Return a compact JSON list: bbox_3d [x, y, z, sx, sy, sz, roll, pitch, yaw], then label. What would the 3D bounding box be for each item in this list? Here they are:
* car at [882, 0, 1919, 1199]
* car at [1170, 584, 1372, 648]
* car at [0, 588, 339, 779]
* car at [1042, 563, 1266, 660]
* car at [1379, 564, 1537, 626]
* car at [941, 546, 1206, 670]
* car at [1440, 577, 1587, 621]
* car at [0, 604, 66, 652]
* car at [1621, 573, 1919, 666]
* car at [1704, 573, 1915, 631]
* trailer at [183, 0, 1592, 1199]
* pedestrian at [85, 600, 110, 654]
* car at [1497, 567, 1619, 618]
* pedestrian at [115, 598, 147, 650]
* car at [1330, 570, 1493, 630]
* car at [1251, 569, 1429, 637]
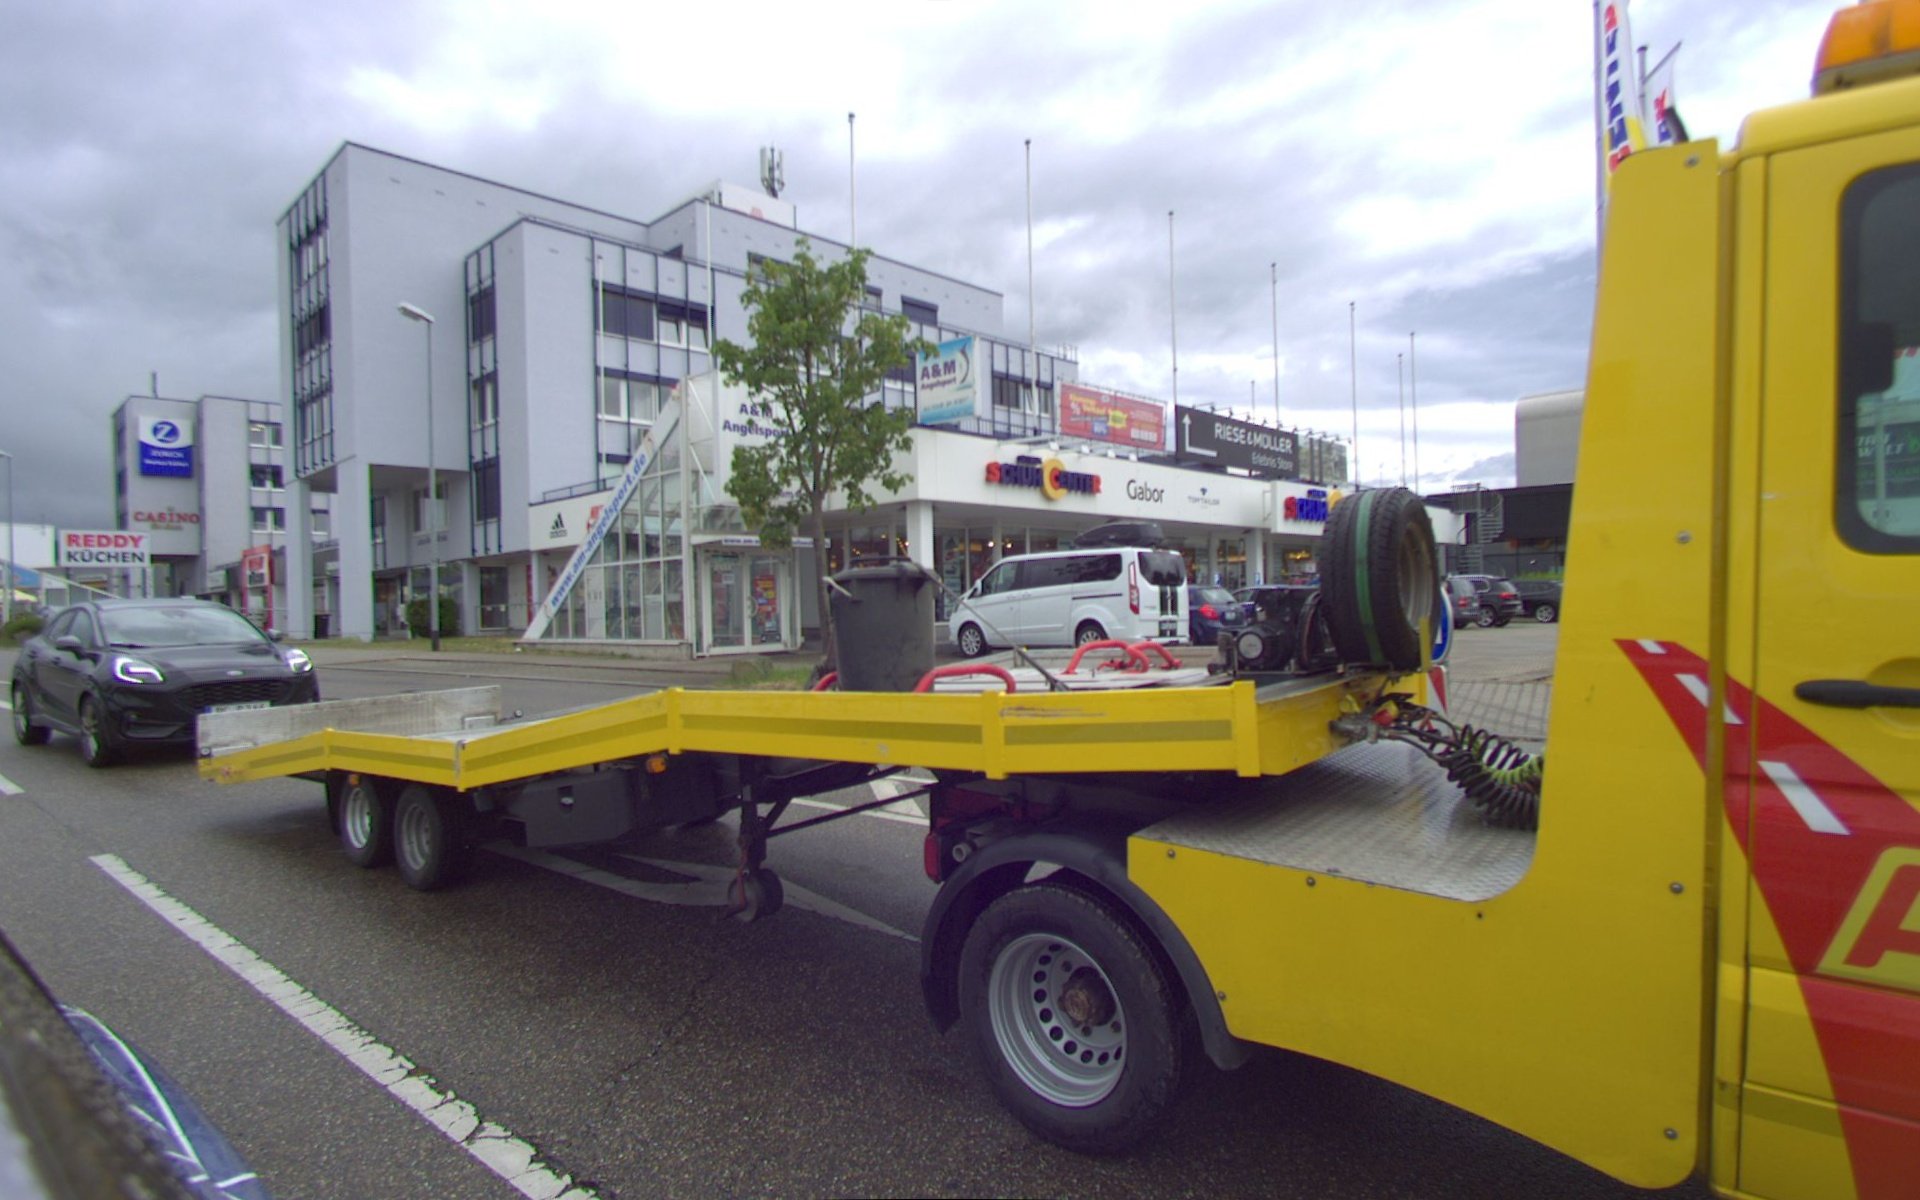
[{"bbox_3d":[2.426,0.119,1.950,5.010,2.493,2.217,-1,-1,39],"label":"car"},{"bbox_3d":[7.478,0.364,24.616,4.376,1.404,1.797,-1,0,44],"label":"car"},{"bbox_3d":[-8.183,0.710,10.306,3.993,1.552,1.792,-1,1,37],"label":"car"},{"bbox_3d":[4.010,0.230,21.411,4.376,1.834,1.869,-1,0,44],"label":"car"},{"bbox_3d":[16.554,-0.157,33.786,4.376,1.920,1.869,-1,0,44],"label":"car"},{"bbox_3d":[1.990,0.147,18.960,1.970,2.029,4.791,0,0,-44],"label":"car"},{"bbox_3d":[20.182,-0.016,37.030,4.376,1.509,1.869,-1,0,44],"label":"car"},{"bbox_3d":[-34.426,1.018,37.214,3.998,1.622,1.799,-2,0,41],"label":"car"},{"bbox_3d":[13.911,0.293,17.232,1.795,1.404,4.132,0,0,-42],"label":"car"},{"bbox_3d":[22.246,0.044,26.601,4.128,1.404,1.797,-1,0,44],"label":"car"},{"bbox_3d":[-1.523,0.148,5.279,7.963,2.493,2.281,-1,0,39],"label":"trailer"},{"bbox_3d":[-27.537,0.855,32.310,0.519,1.720,0.543,-1,0,42],"label":"pedestrian"},{"bbox_3d":[24.788,-0.282,42.060,1.882,2.029,4.004,0,0,-43],"label":"car"},{"bbox_3d":[-28.106,0.810,34.318,0.634,1.756,0.590,-1,0,-17],"label":"pedestrian"},{"bbox_3d":[14.325,0.010,32.253,4.376,1.777,1.869,-1,0,44],"label":"car"},{"bbox_3d":[10.726,0.088,28.759,4.376,1.777,1.869,-1,0,44],"label":"car"}]
